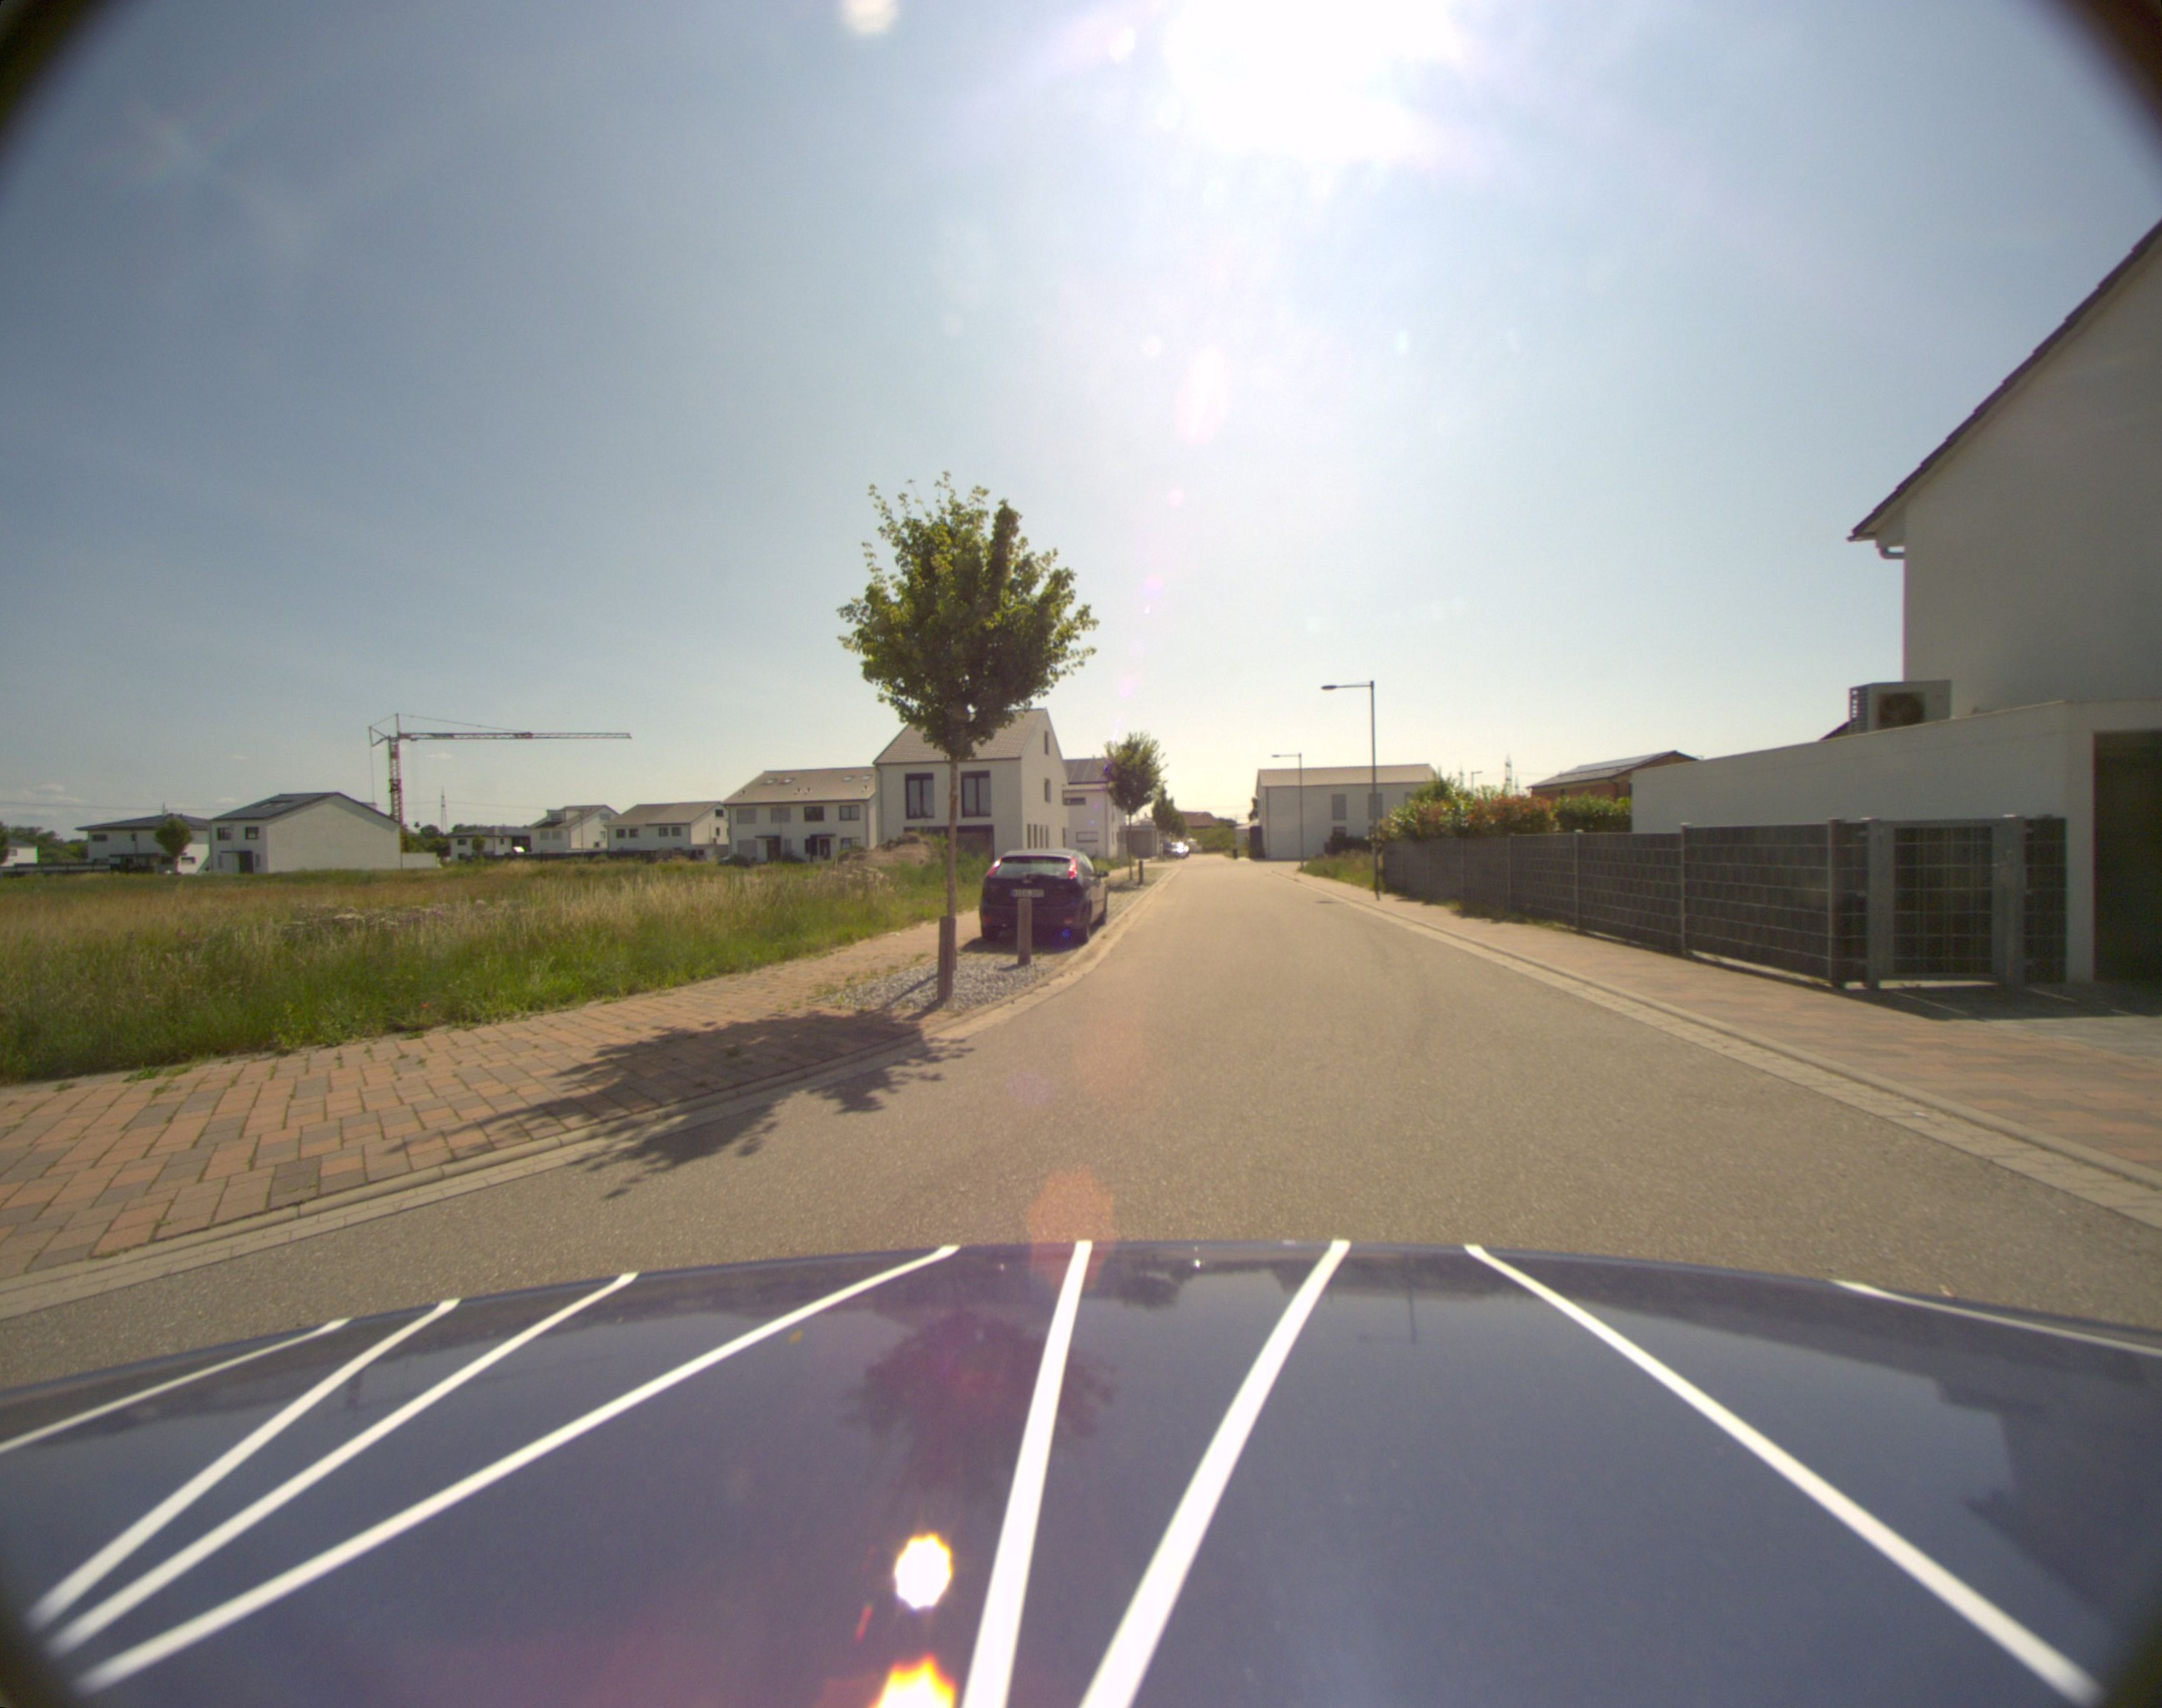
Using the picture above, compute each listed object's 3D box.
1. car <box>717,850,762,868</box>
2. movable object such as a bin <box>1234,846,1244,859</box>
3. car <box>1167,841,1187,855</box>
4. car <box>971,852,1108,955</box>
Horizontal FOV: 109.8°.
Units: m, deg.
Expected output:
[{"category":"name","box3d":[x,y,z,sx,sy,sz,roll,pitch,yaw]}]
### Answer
[{"category":"car","box3d":[-33.221,0.451,74.073,1.812,1.565,4.004,-1,1,14]},{"category":"movable object such as a bin","box3d":[13.728,-0.112,65.941,0.806,1.092,0.672,-1,1,11]},{"category":"car","box3d":[10.595,-0.692,83.423,1.923,1.412,4.423,-1,1,10]},{"category":"car","box3d":[-0.553,0.739,13.475,1.847,1.485,4.195,-2,0,4]}]
